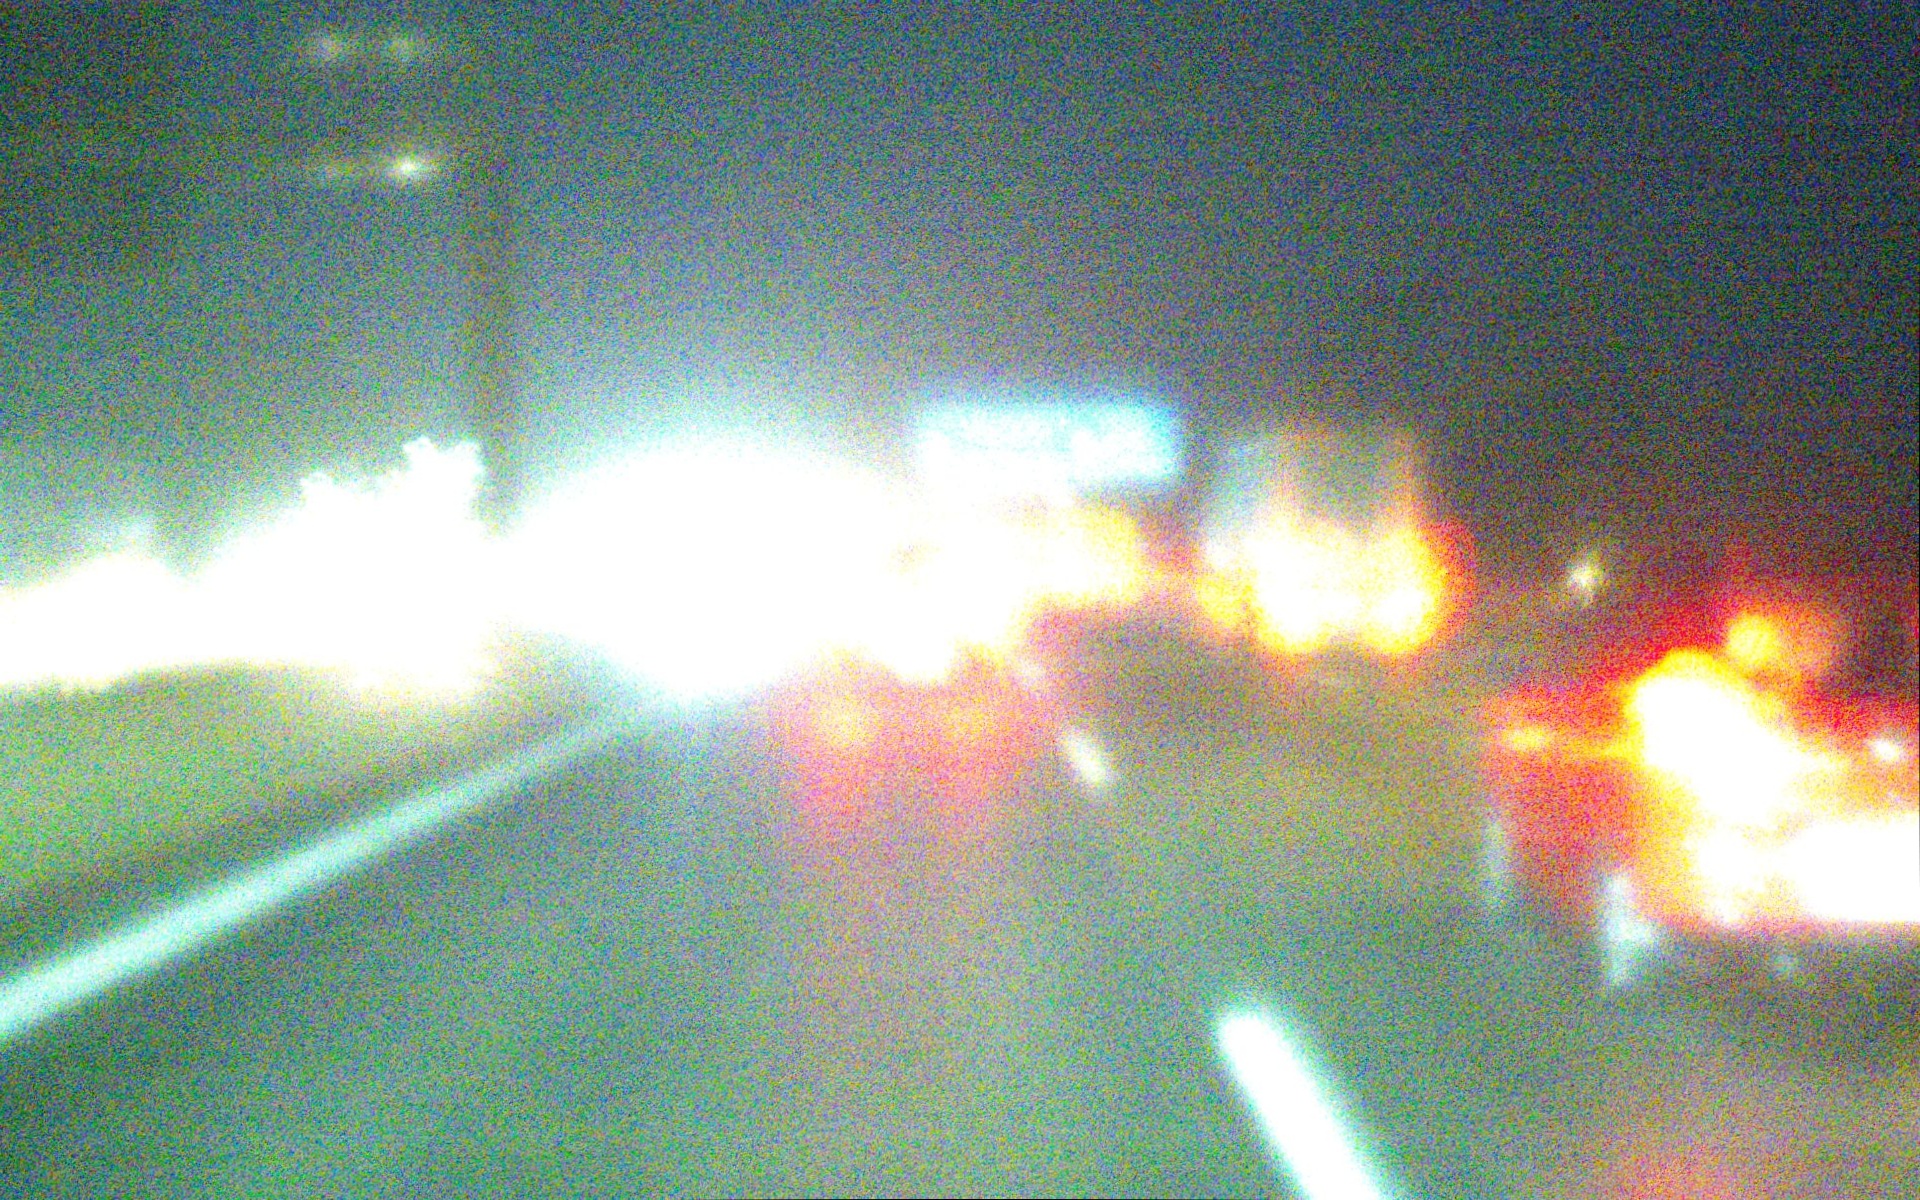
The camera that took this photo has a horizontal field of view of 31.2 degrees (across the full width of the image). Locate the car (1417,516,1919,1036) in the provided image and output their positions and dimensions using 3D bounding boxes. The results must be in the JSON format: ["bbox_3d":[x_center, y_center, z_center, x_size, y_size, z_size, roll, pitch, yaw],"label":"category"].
[{"bbox_3d":[2.880,0.537,12.662,1.740,1.570,4.494,0,0,-1],"label":"car"}]

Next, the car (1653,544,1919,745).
[{"bbox_3d":[6.966,0.308,28.067,1.639,1.498,4.014,-1,1,-2],"label":"car"}]

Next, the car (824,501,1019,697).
[{"bbox_3d":[-0.447,-0.049,37.307,1.993,2.007,4.000,0,1,-1],"label":"car"}]

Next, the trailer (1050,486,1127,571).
[{"bbox_3d":[6.833,-3.771,184.880,3.041,4.095,13.829,-2,0,-2],"label":"trailer"}]

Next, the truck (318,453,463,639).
[{"bbox_3d":[-13.878,-1.321,84.114,2.690,4.366,5.735,1,1,-1],"label":"truck"}]

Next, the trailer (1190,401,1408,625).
[{"bbox_3d":[6.800,-1.643,71.234,2.903,4.094,14.487,-2,0,0],"label":"trailer"}]

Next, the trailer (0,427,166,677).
[{"bbox_3d":[-17.528,-0.888,62.196,2.690,4.207,15.644,1,1,0],"label":"trailer"}]
